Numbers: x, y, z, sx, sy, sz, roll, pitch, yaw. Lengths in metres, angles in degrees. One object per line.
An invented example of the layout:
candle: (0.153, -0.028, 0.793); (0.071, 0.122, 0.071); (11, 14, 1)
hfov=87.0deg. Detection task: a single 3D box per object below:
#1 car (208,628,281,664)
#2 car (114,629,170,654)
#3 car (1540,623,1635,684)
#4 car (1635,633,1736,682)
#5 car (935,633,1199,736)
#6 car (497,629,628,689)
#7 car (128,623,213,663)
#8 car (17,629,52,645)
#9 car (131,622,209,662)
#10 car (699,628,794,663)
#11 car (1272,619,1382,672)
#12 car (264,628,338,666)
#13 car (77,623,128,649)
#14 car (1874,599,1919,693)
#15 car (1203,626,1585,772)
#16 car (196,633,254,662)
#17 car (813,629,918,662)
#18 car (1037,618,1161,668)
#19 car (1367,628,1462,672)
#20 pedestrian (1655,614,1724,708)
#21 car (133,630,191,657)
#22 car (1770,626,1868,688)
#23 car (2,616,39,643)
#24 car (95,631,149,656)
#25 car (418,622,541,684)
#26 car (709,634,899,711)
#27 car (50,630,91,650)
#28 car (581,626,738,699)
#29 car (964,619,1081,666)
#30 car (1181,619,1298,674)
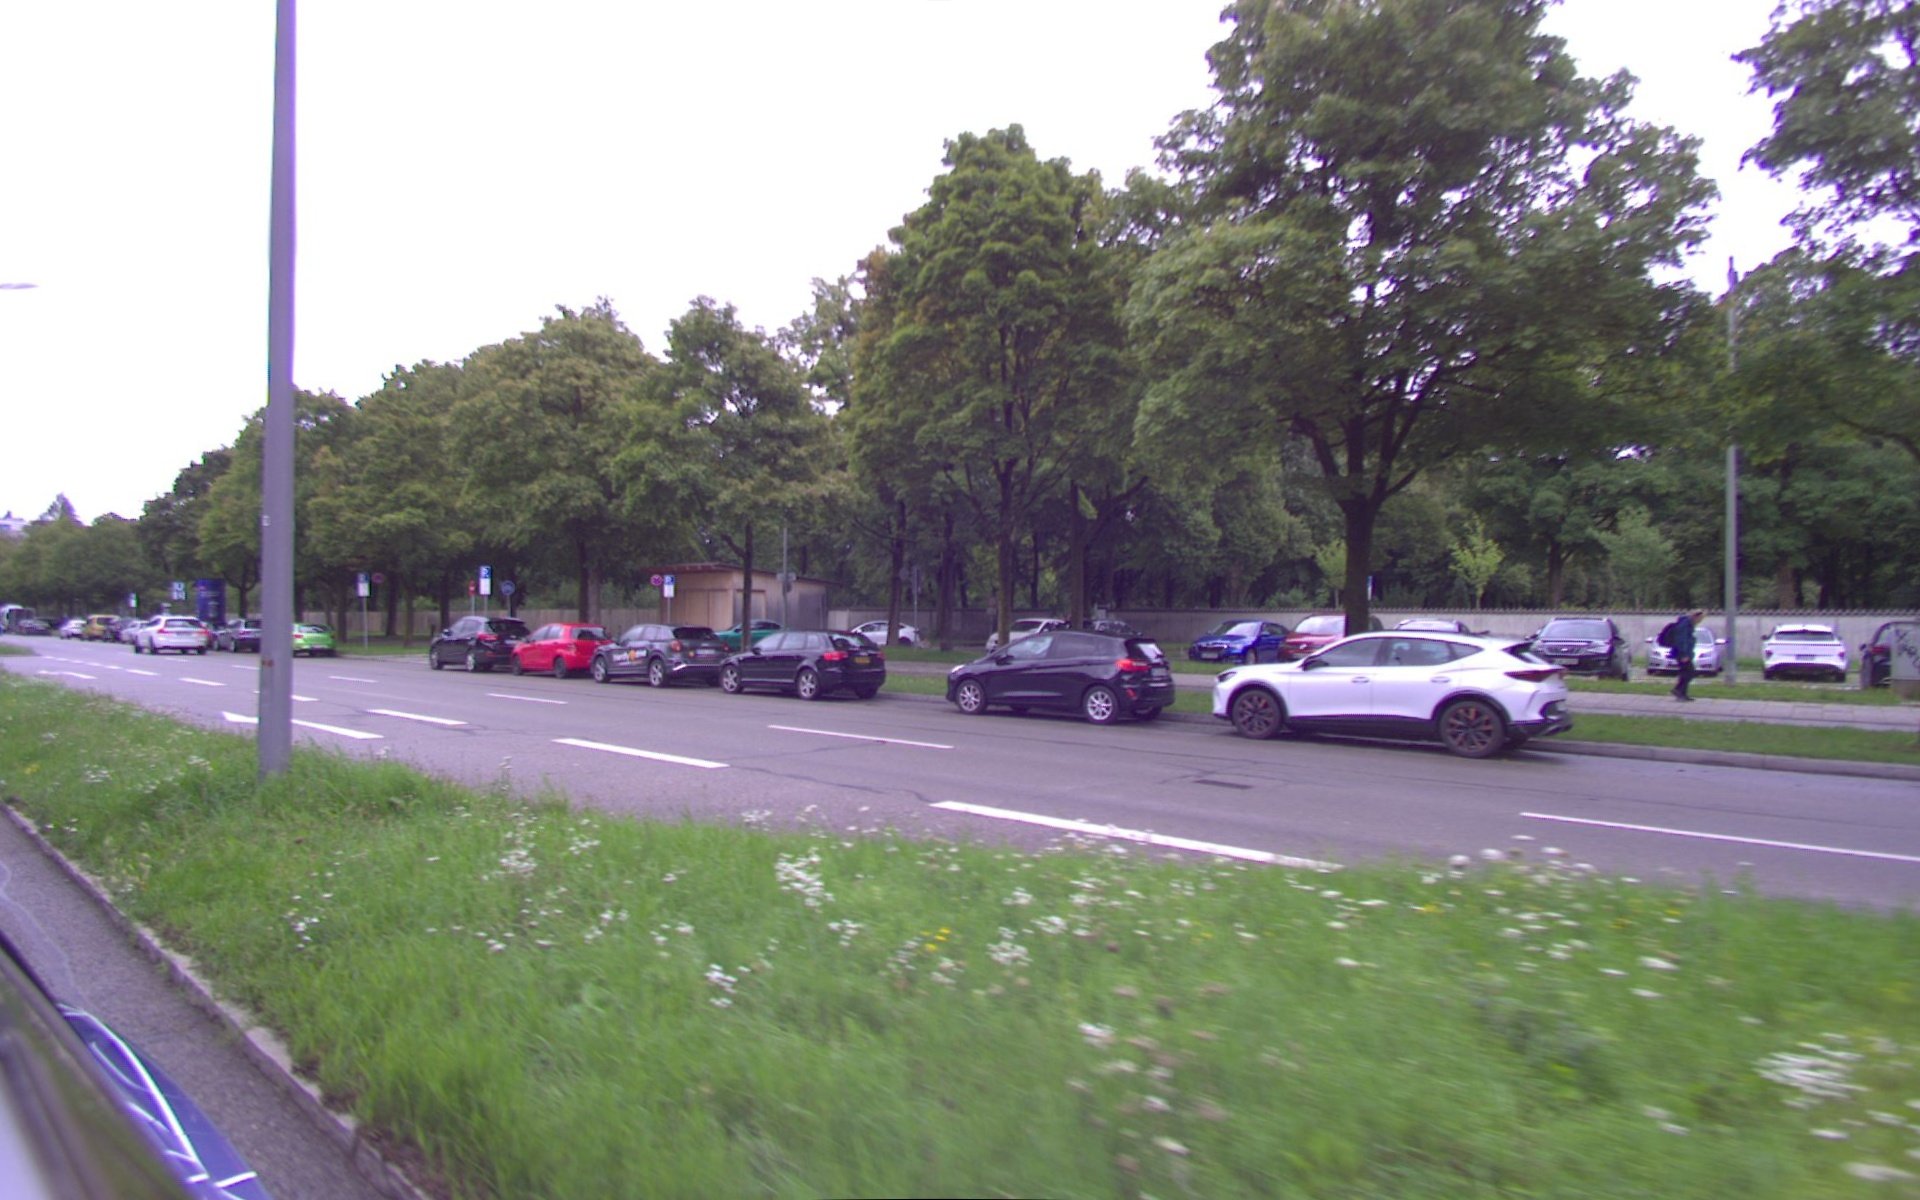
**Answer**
car: (-34.268, 2.156, 48.400); (4.454, 1.643, 1.802); (-1, -3, 41)
car: (-50.851, 2.568, 62.898); (4.296, 1.481, 1.803); (-1, -3, 39)
car: (14.388, 1.167, 23.110); (1.686, 1.268, 3.953); (-1, -2, 34)
car: (22.347, 1.730, 31.130); (3.940, 1.383, 1.879); (2, -2, -44)
car: (1.695, 1.309, 16.674); (3.994, 1.459, 1.804); (-1, -3, 38)
car: (-11.127, 1.588, 28.267); (3.807, 1.490, 1.803); (0, -1, 40)
car: (-33.975, 1.809, 43.505); (4.681, 1.632, 2.003); (-1, -3, 41)
car: (-84.126, 3.373, 91.968); (4.037, 1.420, 1.695); (-1, -3, 39)
car: (-33.984, 1.798, 43.500); (4.400, 1.612, 1.831); (-1, -4, 41)
car: (-9.153, 1.936, 43.329); (3.793, 1.420, 1.865); (0, -1, -18)
car: (9.714, 1.163, 26.610); (1.737, 1.293, 3.952); (-1, -2, 35)
car: (-27.886, 1.982, 42.795); (3.999, 1.511, 1.623); (-2, -4, 42)
car: (-60.381, 2.534, 71.230); (4.529, 1.784, 1.839); (-1, -3, 39)
car: (17.711, 0.810, 18.222); (1.814, 1.582, 3.944); (-1, -2, 42)
car: (5.598, 1.179, 13.347); (4.296, 1.539, 1.803); (0, -3, 40)
car: (-37.947, 2.448, 52.205); (3.686, 1.433, 1.632); (-1, -4, 42)
car: (-4.210, 2.005, 44.970); (4.393, 1.420, 1.864); (0, -1, -15)
car: (4.334, 1.281, 31.213); (1.998, 1.453, 4.094); (-1, -2, 38)
car: (16.608, 1.780, 36.867); (1.999, 1.453, 4.459); (-1, -2, 40)
pedestrian: (12.184, 1.000, 16.905); (0.856, 1.507, 0.786); (-1, -3, 41)
car: (-46.803, 2.538, 59.328); (3.784, 1.457, 1.803); (-1, -4, 39)
car: (24.686, 1.584, 29.051); (3.940, 1.666, 1.771); (2, -2, -44)
car: (-93.029, 2.890, 100.237); (4.495, 2.611, 1.974); (-1, -3, 39)
car: (-55.565, 2.868, 67.081); (4.037, 1.628, 1.982); (-1, -3, 39)
car: (-14.809, 1.557, 31.131); (4.236, 1.712, 1.803); (0, -1, 40)
car: (-3.303, 1.443, 21.004); (4.000, 1.420, 1.801); (-1, -4, 43)
car: (-68.331, 3.091, 77.718); (4.037, 1.454, 1.695); (-1, -3, 39)
car: (-7.356, 1.448, 24.574); (4.112, 1.611, 1.802); (-1, -2, 42)
car: (2.118, 1.375, 33.480); (1.997, 1.453, 3.949); (-1, -2, 38)
car: (7.987, 1.265, 28.738); (1.996, 1.453, 3.952); (-1, -2, 35)
